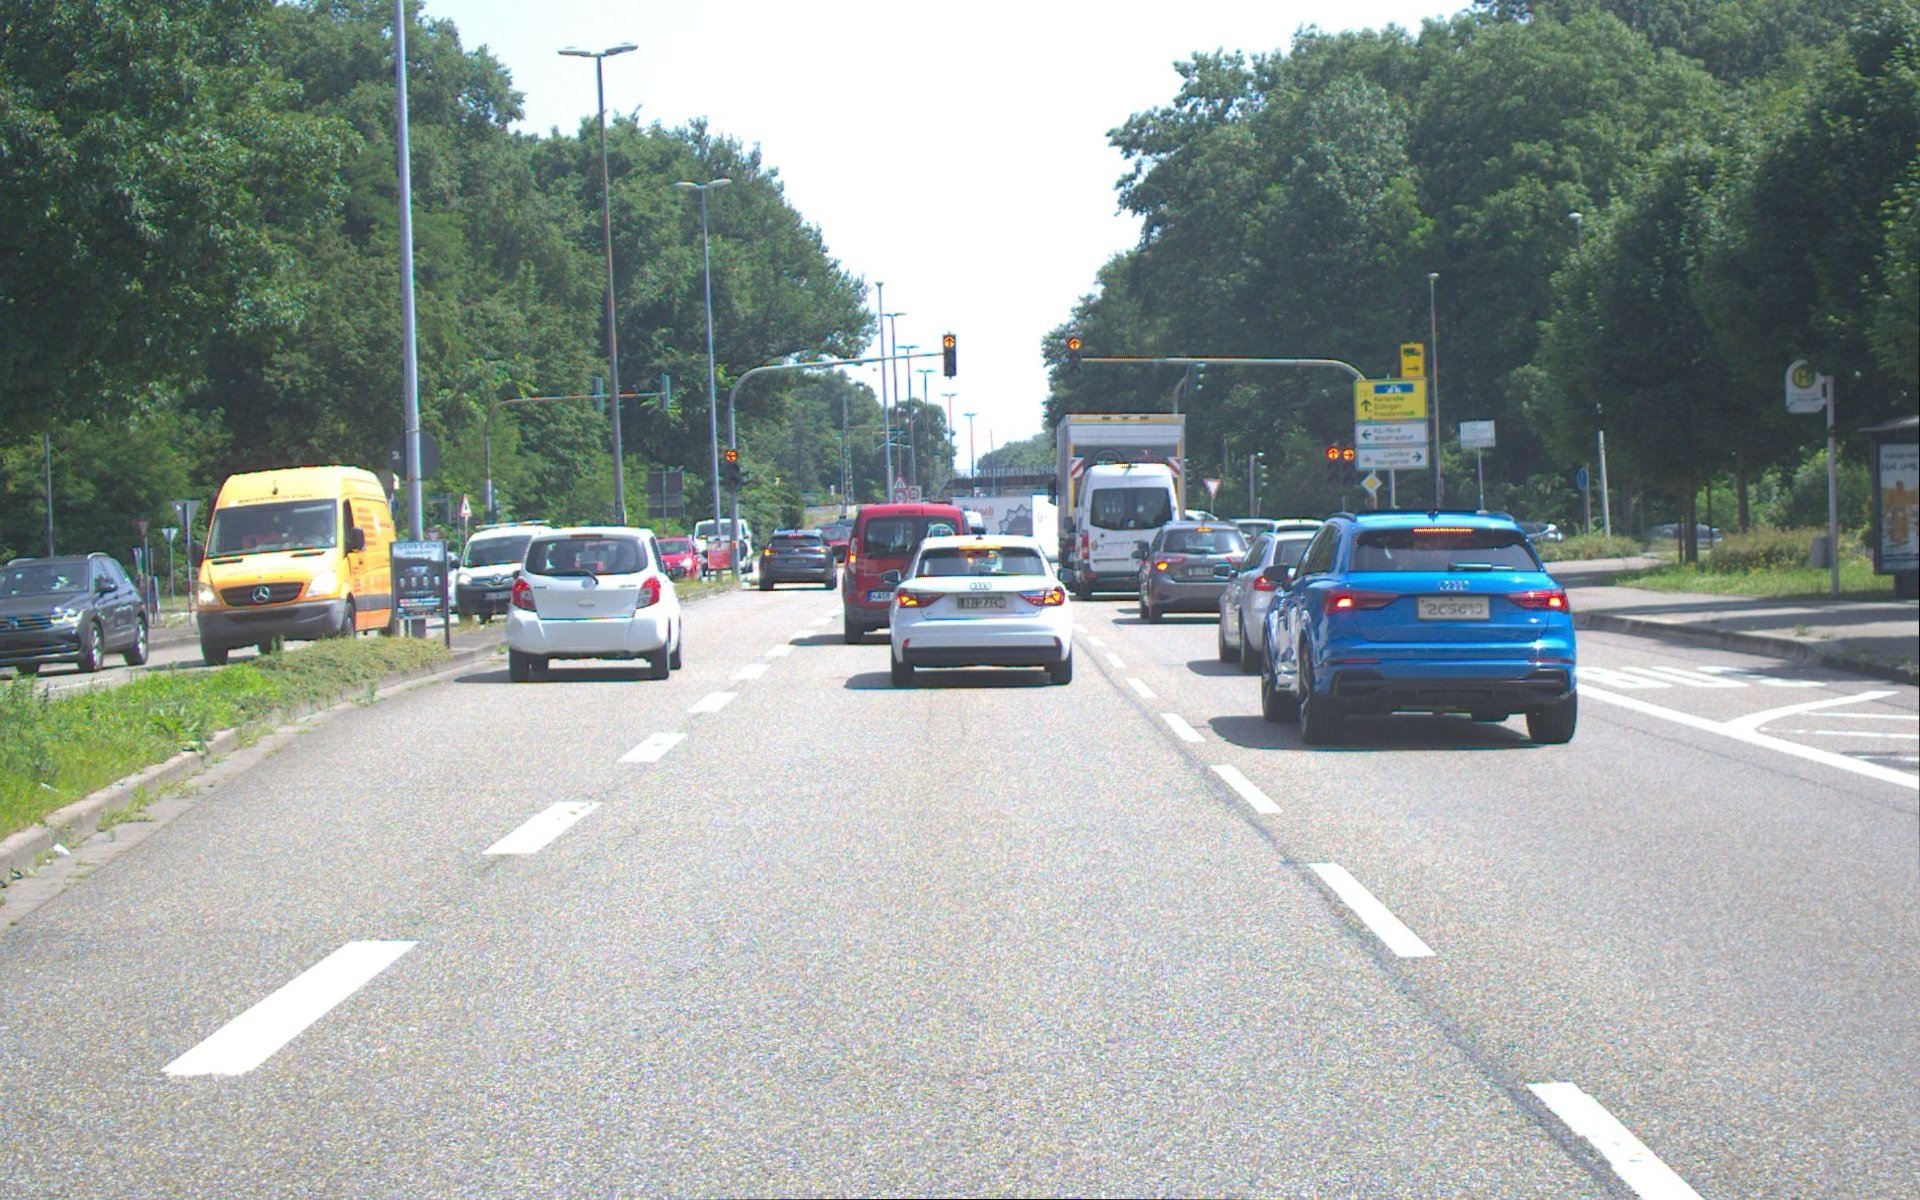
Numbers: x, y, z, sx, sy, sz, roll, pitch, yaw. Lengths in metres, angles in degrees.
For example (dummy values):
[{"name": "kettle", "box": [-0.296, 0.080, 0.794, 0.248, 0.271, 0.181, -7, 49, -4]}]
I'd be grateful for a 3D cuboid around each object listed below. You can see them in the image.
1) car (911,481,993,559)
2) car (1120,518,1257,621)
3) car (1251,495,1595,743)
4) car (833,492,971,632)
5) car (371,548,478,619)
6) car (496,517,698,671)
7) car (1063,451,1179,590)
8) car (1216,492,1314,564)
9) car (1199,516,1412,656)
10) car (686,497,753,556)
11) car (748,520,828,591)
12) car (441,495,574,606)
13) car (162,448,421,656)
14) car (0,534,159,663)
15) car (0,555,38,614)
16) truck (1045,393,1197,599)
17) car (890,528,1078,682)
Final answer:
[{"name": "car", "box": [-0.195, -1.733, 74.648, 1.712, 1.626, 4.092, -1, 1, -1]}, {"name": "car", "box": [3.457, -0.496, 52.680, 1.712, 1.473, 4.092, 2, 1, -1]}, {"name": "car", "box": [3.222, 0.072, 24.728, 1.837, 1.590, 4.400, -1, 1, 0]}, {"name": "car", "box": [-0.768, -0.527, 45.314, 1.712, 1.742, 4.092, -1, 1, -1]}, {"name": "car", "box": [-12.431, -0.414, 80.056, 1.749, 1.446, 4.133, -4, 1, 0]}, {"name": "car", "box": [-3.715, -0.101, 35.779, 1.712, 1.487, 4.092, -1, 1, -1]}, {"name": "car", "box": [3.165, -1.588, 68.478, 2.031, 2.635, 4.845, -1, 1, 0]}, {"name": "car", "box": [6.739, -1.600, 76.258, 1.712, 1.541, 4.092, -1, 1, -1]}, {"name": "car", "box": [3.501, -0.185, 35.490, 1.712, 1.357, 4.092, 0, 1, -1]}, {"name": "car", "box": [-8.586, -2.649, 123.253, 1.993, 1.939, 4.909, -4, 1, -1]}, {"name": "car", "box": [-4.141, -1.091, 83.165, 1.774, 1.635, 4.037, -1, 1, -1]}, {"name": "car", "box": [-8.591, -0.967, 65.567, 1.852, 1.899, 4.426, -5, 2, -1]}, {"name": "car", "box": [-9.137, -0.700, 47.582, 2.265, 2.559, 6.058, -3, 2, 0]}, {"name": "car", "box": [-12.561, -0.039, 47.889, 1.716, 1.598, 4.213, -4, 1, 0]}, {"name": "car", "box": [-28.836, -0.455, 98.648, 4.370, 1.676, 1.811, 0, 1, -7]}, {"name": "truck", "box": [3.605, -2.374, 79.860, 3.088, 4.418, 11.580, 0, 1, 1]}, {"name": "car", "box": [0.189, 0.001, 33.669, 1.712, 1.381, 4.092, -1, 1, -1]}]
